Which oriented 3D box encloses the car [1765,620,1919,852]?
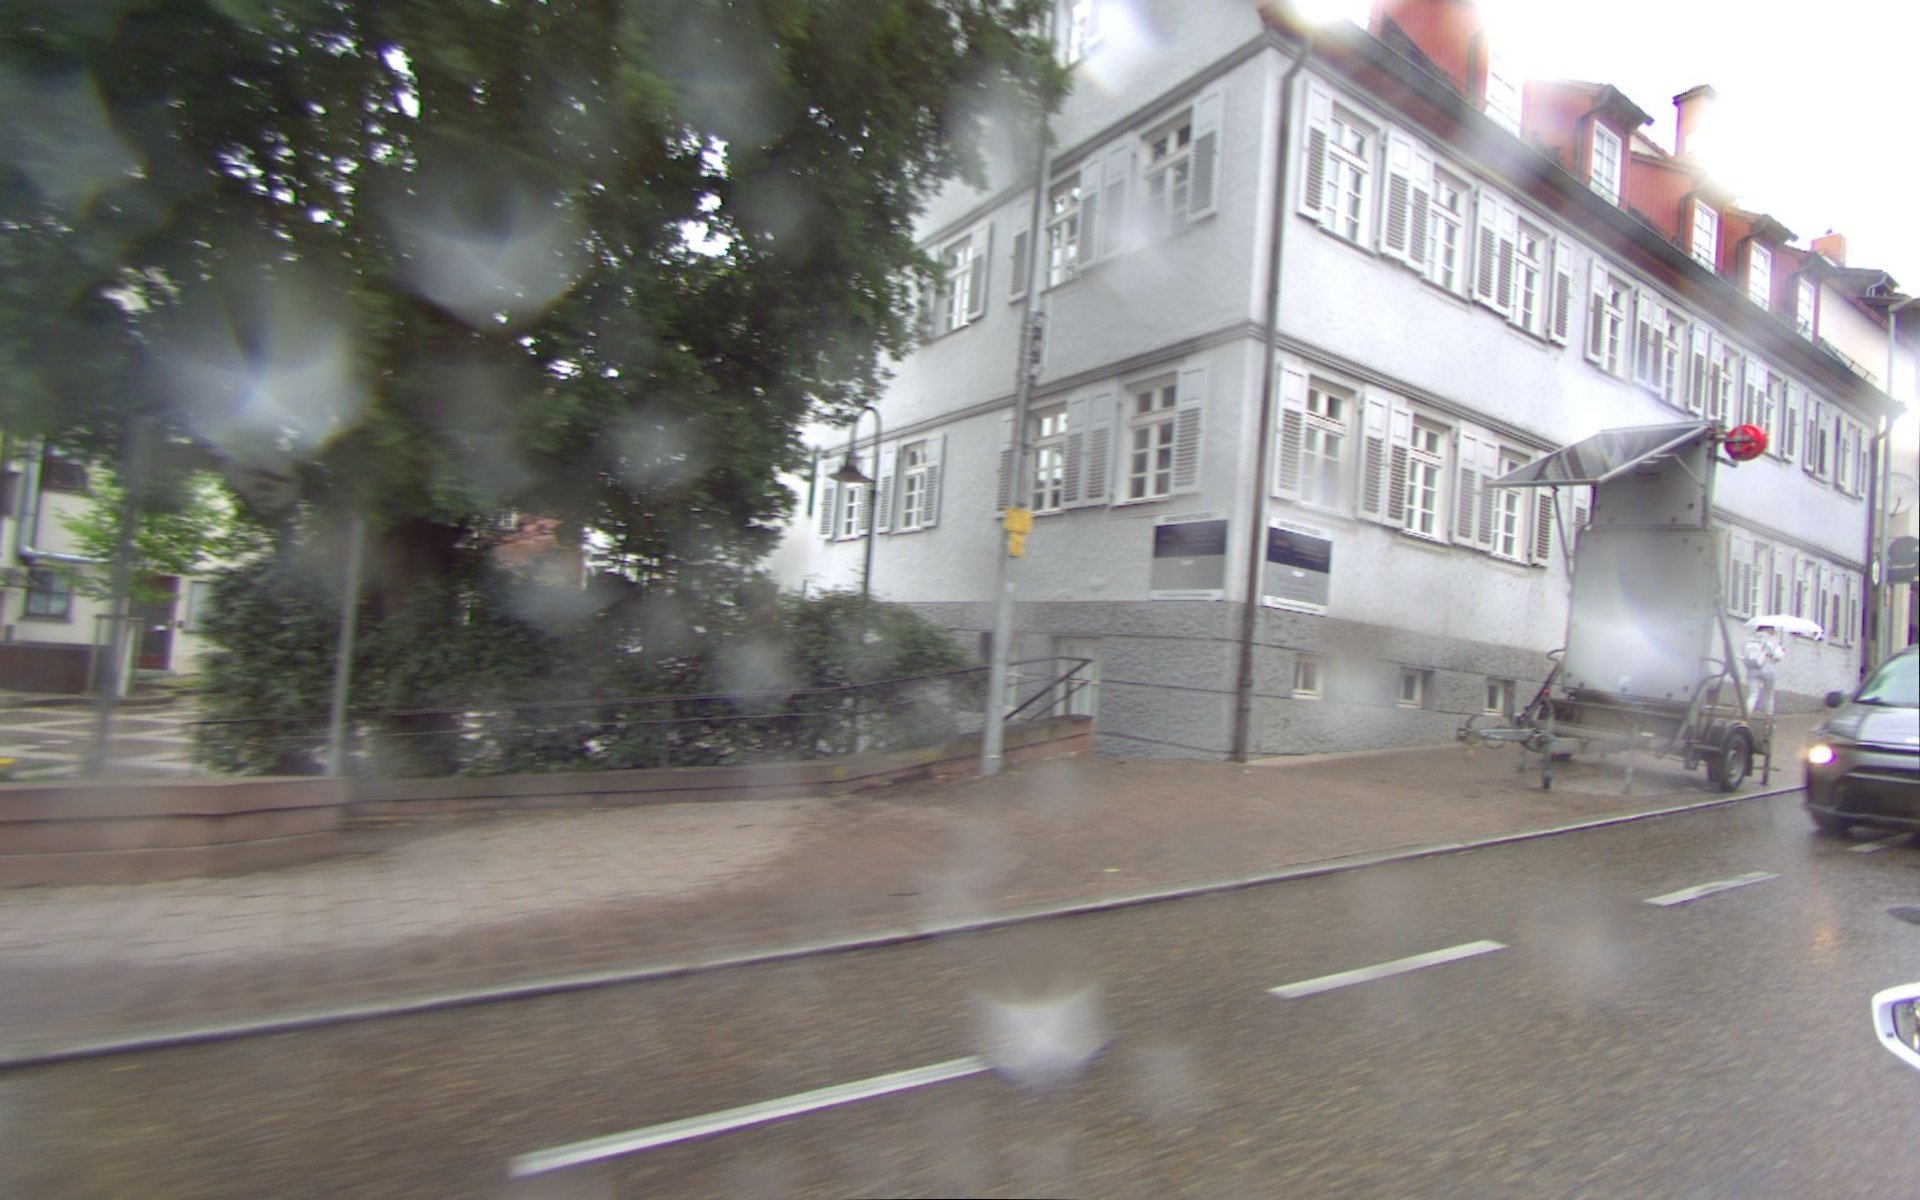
[{"bbox_3d":[8.072,0.982,7.864,3.672,1.554,1.762,2,0,-34],"label":"car"}]

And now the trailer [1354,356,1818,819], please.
[{"bbox_3d":[6.184,-0.050,9.804,4.523,3.581,1.983,2,0,-32],"label":"trailer"}]

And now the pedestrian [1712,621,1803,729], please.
[{"bbox_3d":[12.124,1.122,15.272,1.032,1.550,0.704,1,1,-29],"label":"pedestrian"}]
